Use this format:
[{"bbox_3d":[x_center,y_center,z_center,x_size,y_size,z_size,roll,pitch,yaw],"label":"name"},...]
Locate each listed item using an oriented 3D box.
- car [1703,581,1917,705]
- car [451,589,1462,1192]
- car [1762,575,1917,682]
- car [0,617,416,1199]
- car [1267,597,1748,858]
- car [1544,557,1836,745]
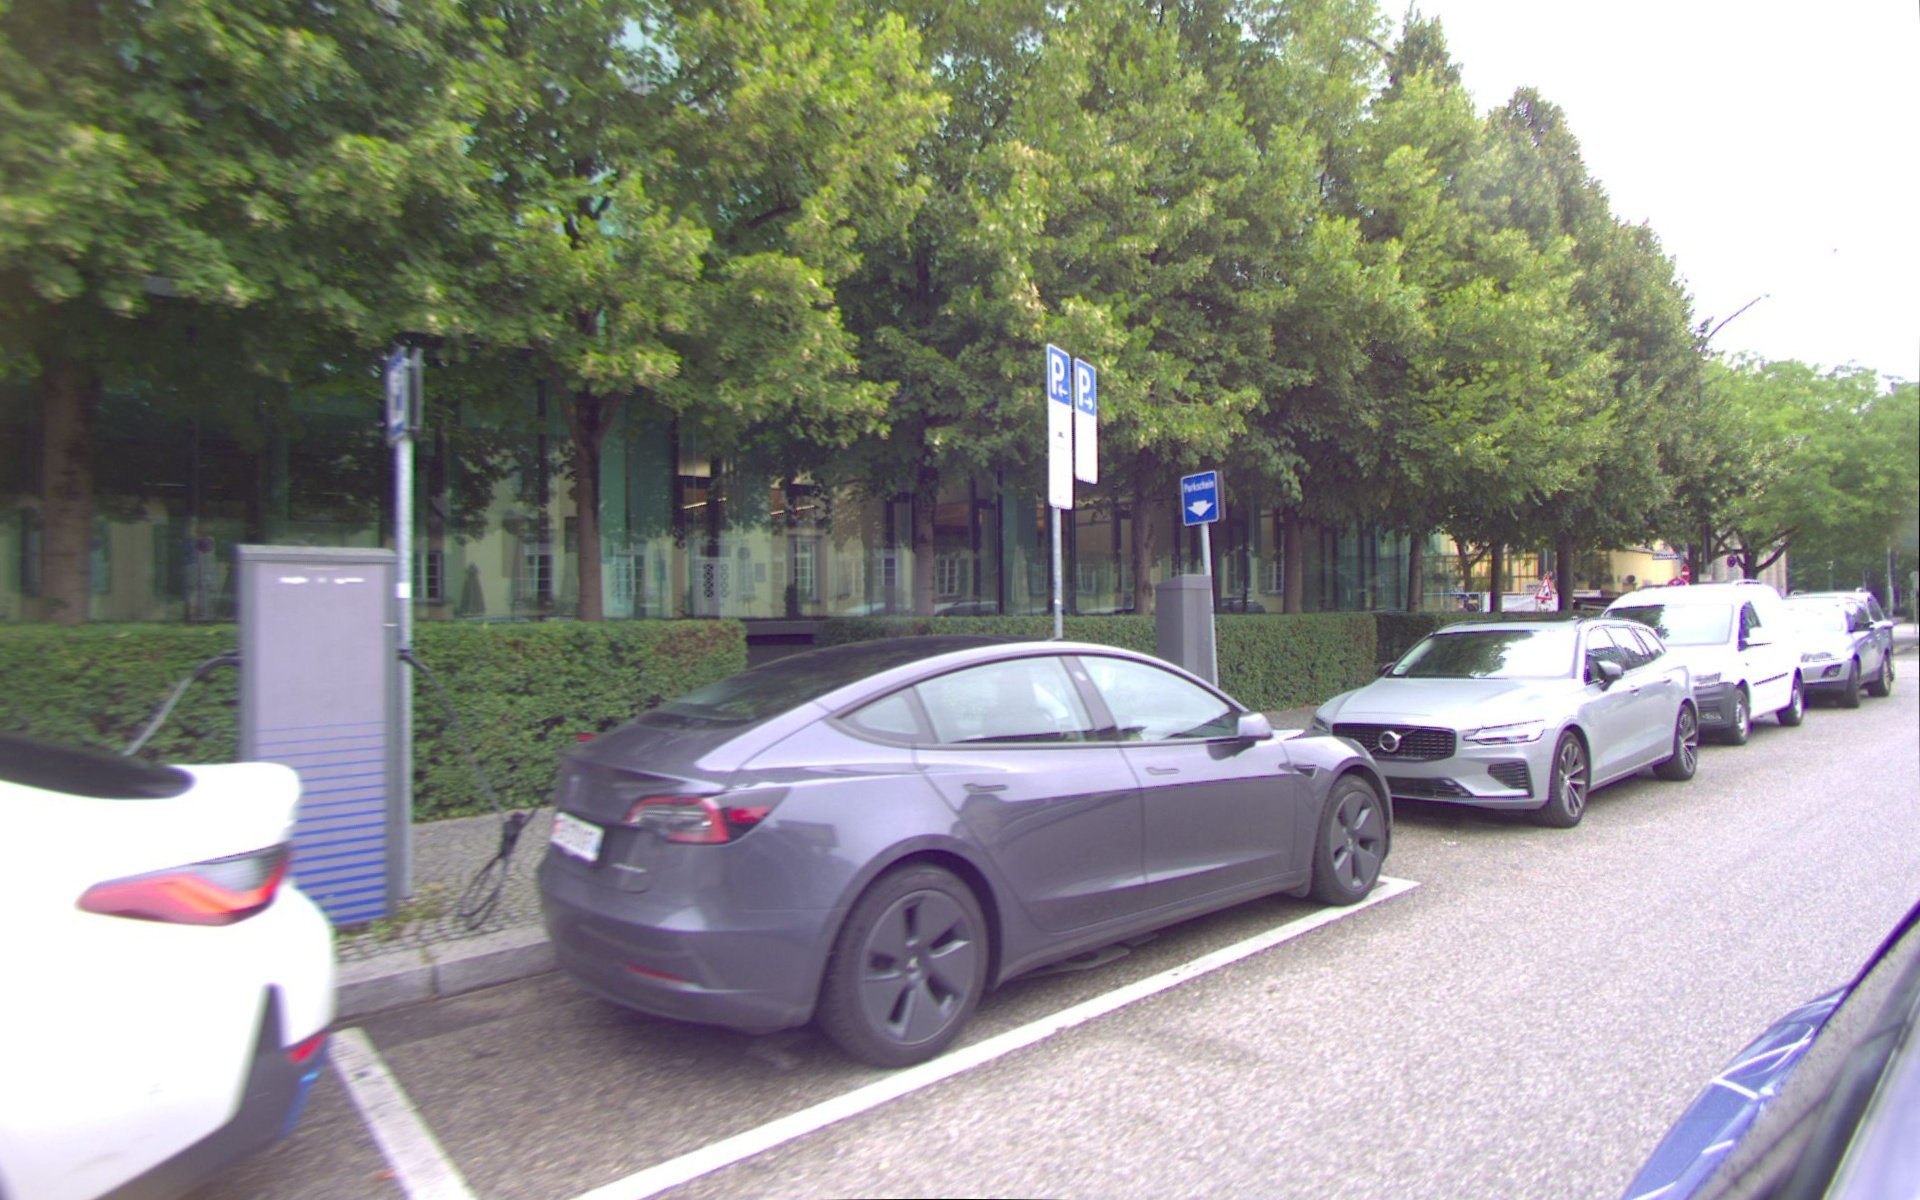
[{"bbox_3d":[13.718,0.612,16.228,4.701,1.713,1.870,-1,-2,-41],"label":"car"},{"bbox_3d":[0.334,0.788,4.965,4.762,1.572,1.966,-1,-2,-39],"label":"car"},{"bbox_3d":[17.033,0.508,19.523,4.275,1.831,1.811,0,-2,-44],"label":"car"},{"bbox_3d":[-3.726,0.838,1.460,4.871,1.479,1.996,-1,-2,-42],"label":"car"},{"bbox_3d":[4.845,0.813,8.587,4.918,1.572,1.949,-1,-2,-41],"label":"car"},{"bbox_3d":[9.113,0.535,12.495,4.493,1.920,1.787,-1,-2,-40],"label":"car"}]
